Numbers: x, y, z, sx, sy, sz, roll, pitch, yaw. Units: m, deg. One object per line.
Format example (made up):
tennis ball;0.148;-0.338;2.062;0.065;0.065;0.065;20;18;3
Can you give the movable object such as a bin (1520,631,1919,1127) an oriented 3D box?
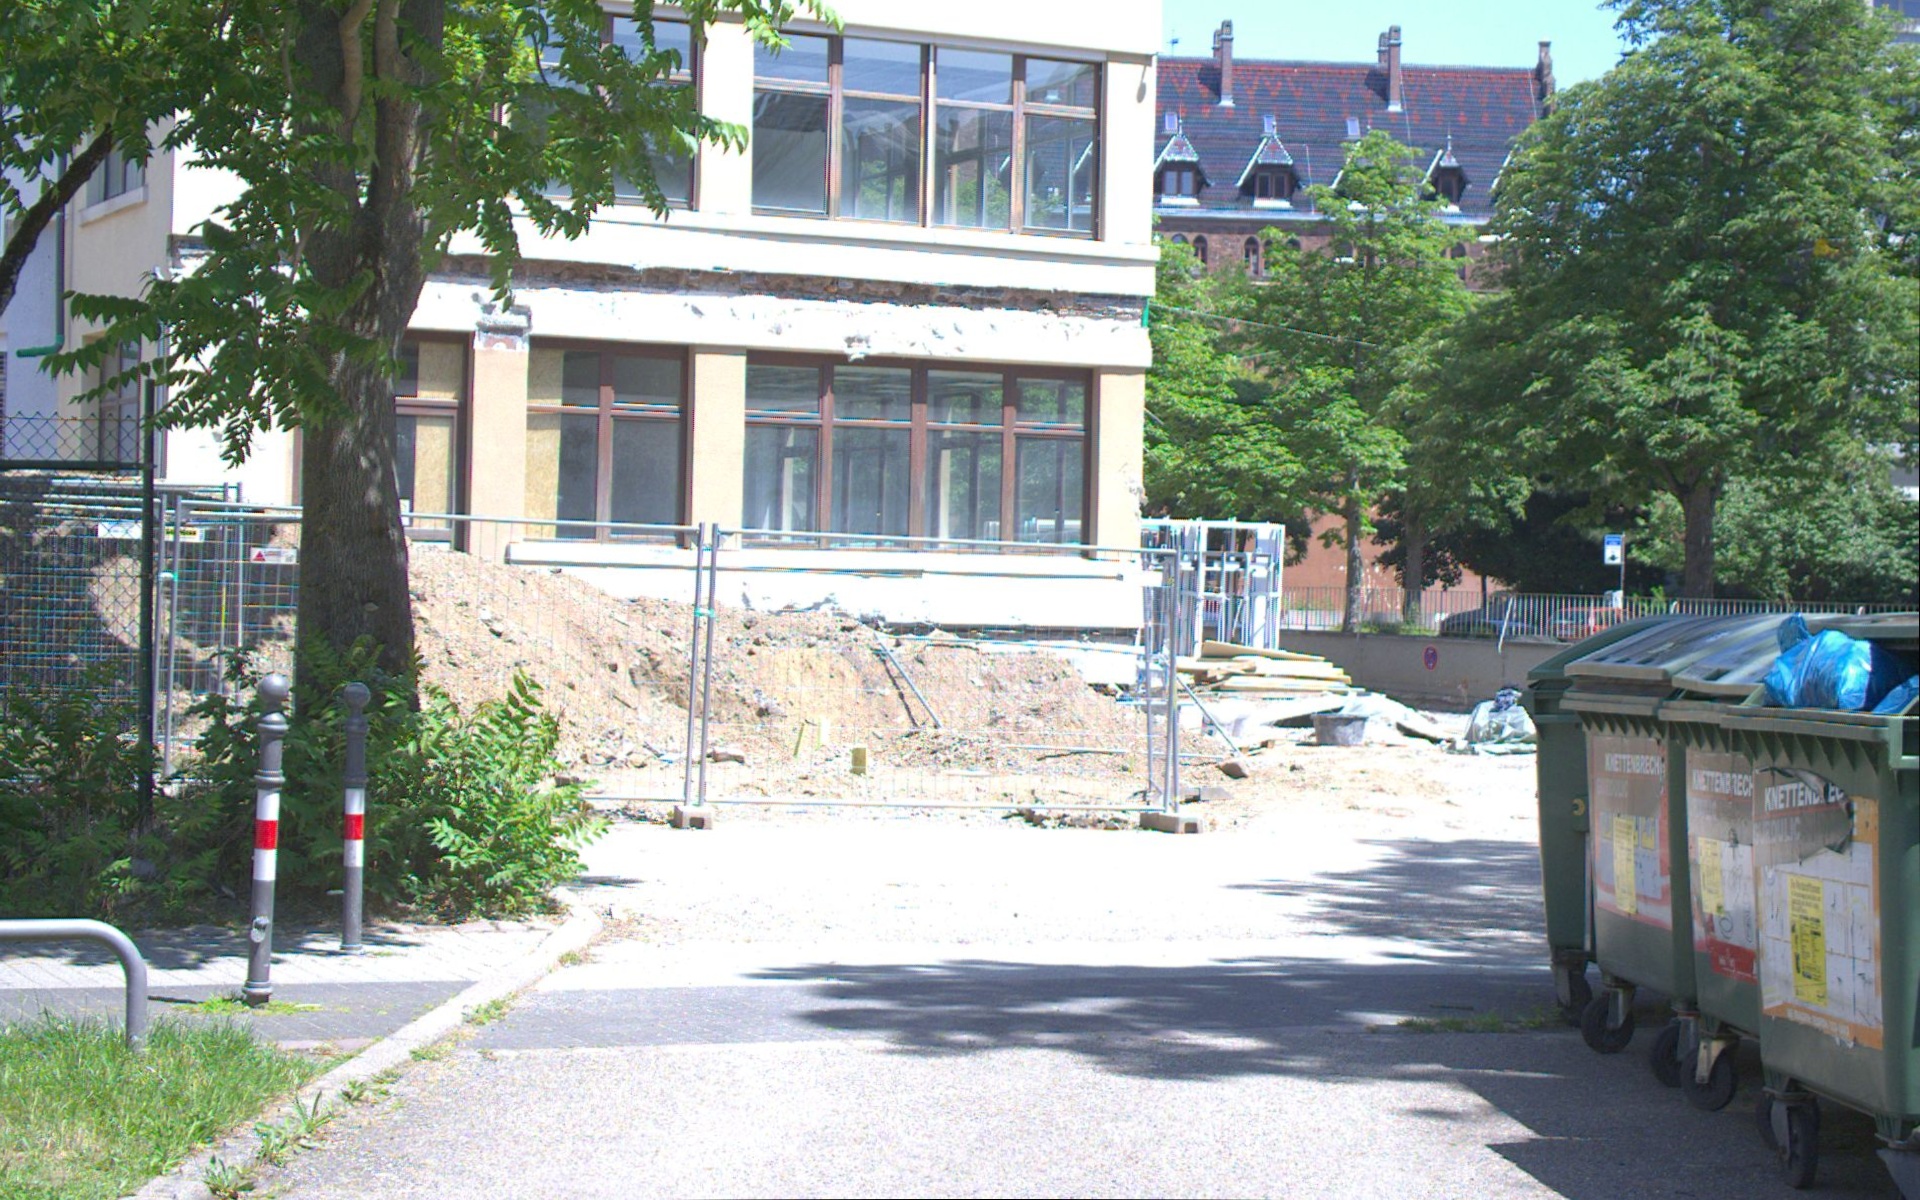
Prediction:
movable object such as a bin;2.581;0.864;11.151;1.179;1.465;1.312;2;0;-4

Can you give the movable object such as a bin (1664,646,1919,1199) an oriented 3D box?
movable object such as a bin;2.499;0.878;8.326;1.178;1.465;1.312;2;0;-5

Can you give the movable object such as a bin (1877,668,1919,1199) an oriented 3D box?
movable object such as a bin;2.614;0.920;6.588;1.154;1.500;1.463;2;0;-8

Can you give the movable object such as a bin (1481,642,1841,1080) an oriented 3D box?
movable object such as a bin;2.591;0.913;12.690;1.179;1.465;1.332;2;0;13

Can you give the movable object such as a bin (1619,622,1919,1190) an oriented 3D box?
movable object such as a bin;2.630;0.824;9.708;1.179;1.465;1.312;2;0;-3
